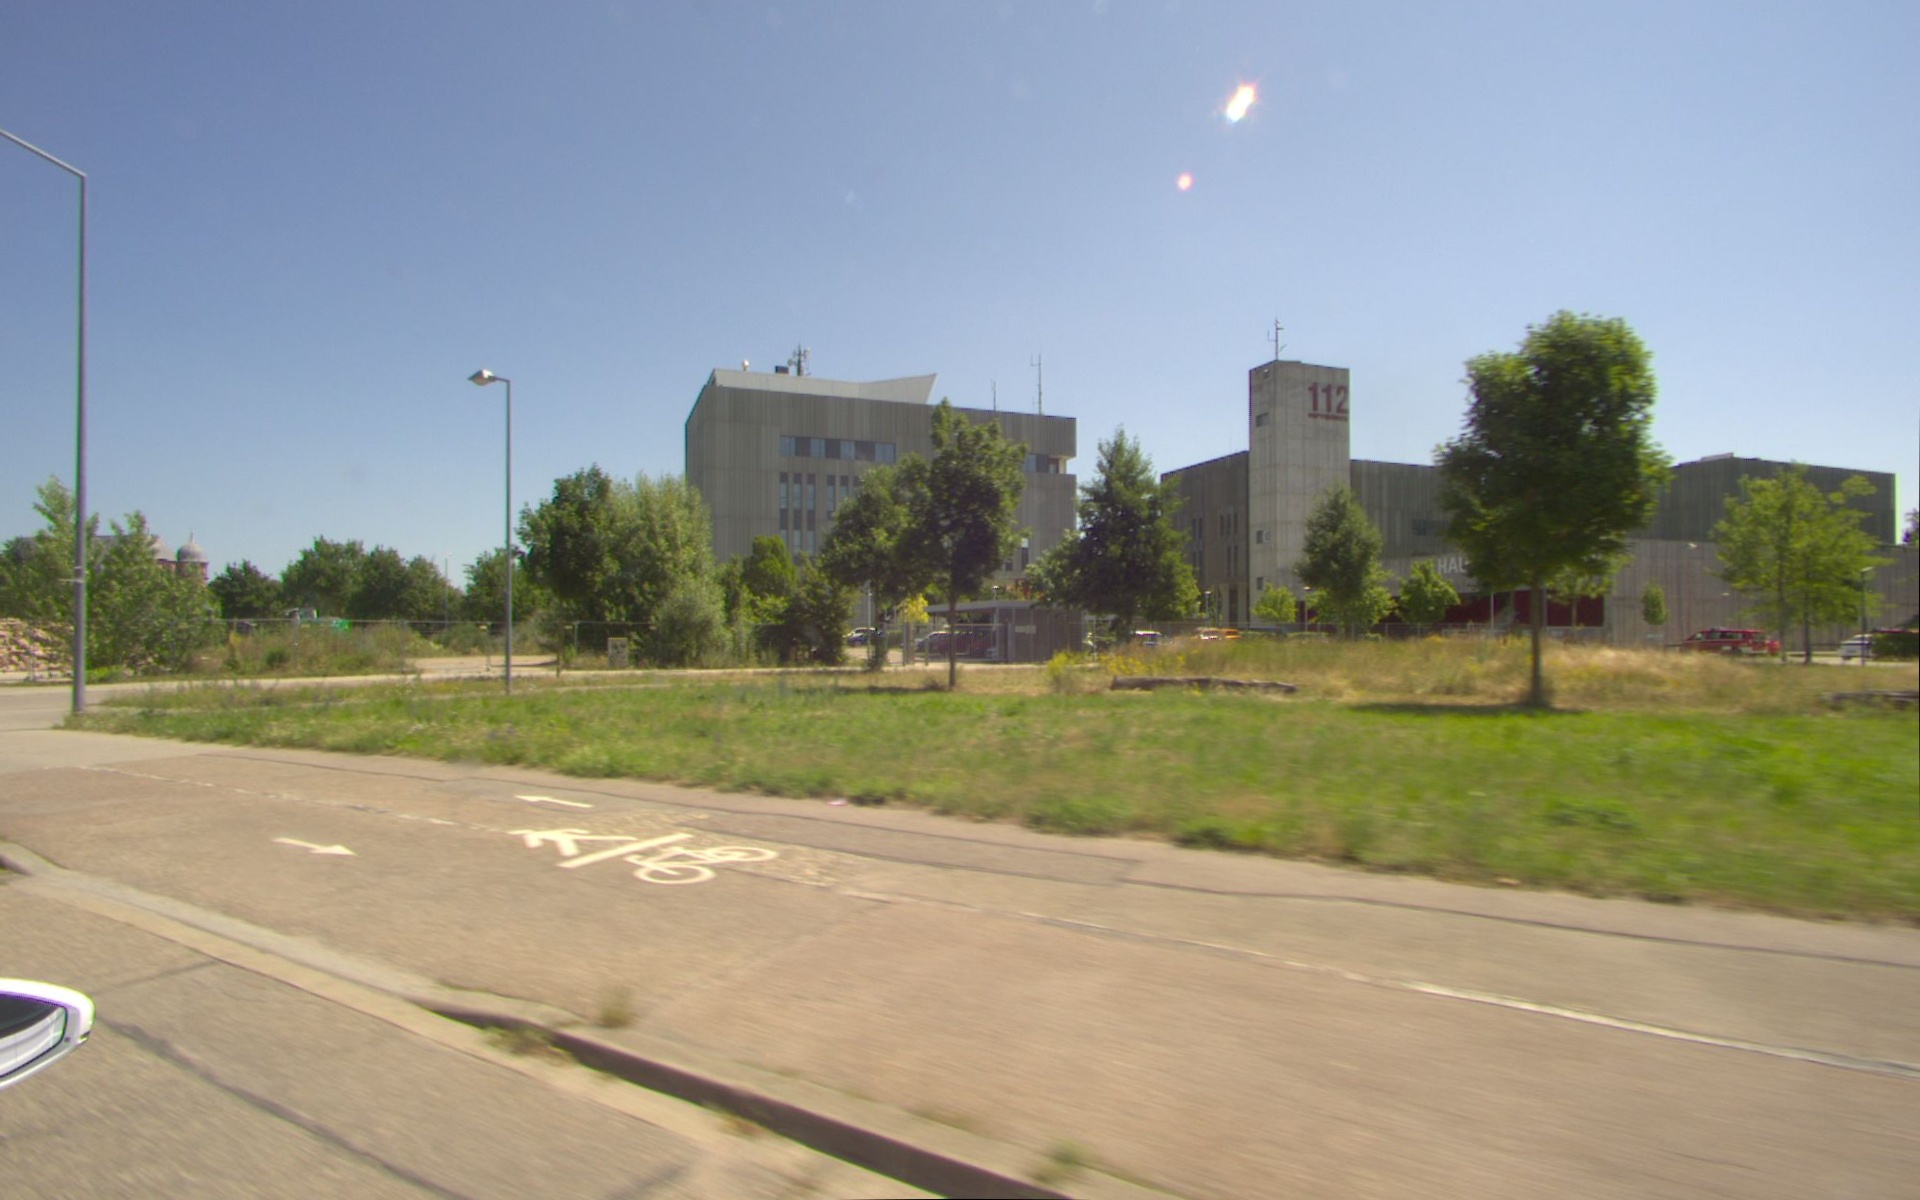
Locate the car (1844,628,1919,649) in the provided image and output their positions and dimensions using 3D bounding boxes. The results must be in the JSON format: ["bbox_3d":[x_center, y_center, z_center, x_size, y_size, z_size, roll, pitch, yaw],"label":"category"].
[{"bbox_3d":[69.923,2.880,75.576,1.774,1.529,4.511,1,-2,-24],"label":"car"}]

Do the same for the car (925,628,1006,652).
[{"bbox_3d":[0.353,2.604,65.772,4.997,1.455,1.994,0,-1,-23],"label":"car"}]

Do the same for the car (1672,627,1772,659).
[{"bbox_3d":[52.942,2.953,69.674,2.199,2.142,5.150,1,-2,-20],"label":"car"}]

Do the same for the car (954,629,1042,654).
[{"bbox_3d":[2.253,2.464,59.670,4.831,1.455,1.997,0,-1,-17],"label":"car"}]

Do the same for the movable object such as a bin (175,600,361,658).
[{"bbox_3d":[-42.518,1.804,61.520,10.299,3.301,4.941,-1,-2,25],"label":"movable object such as a bin"}]
